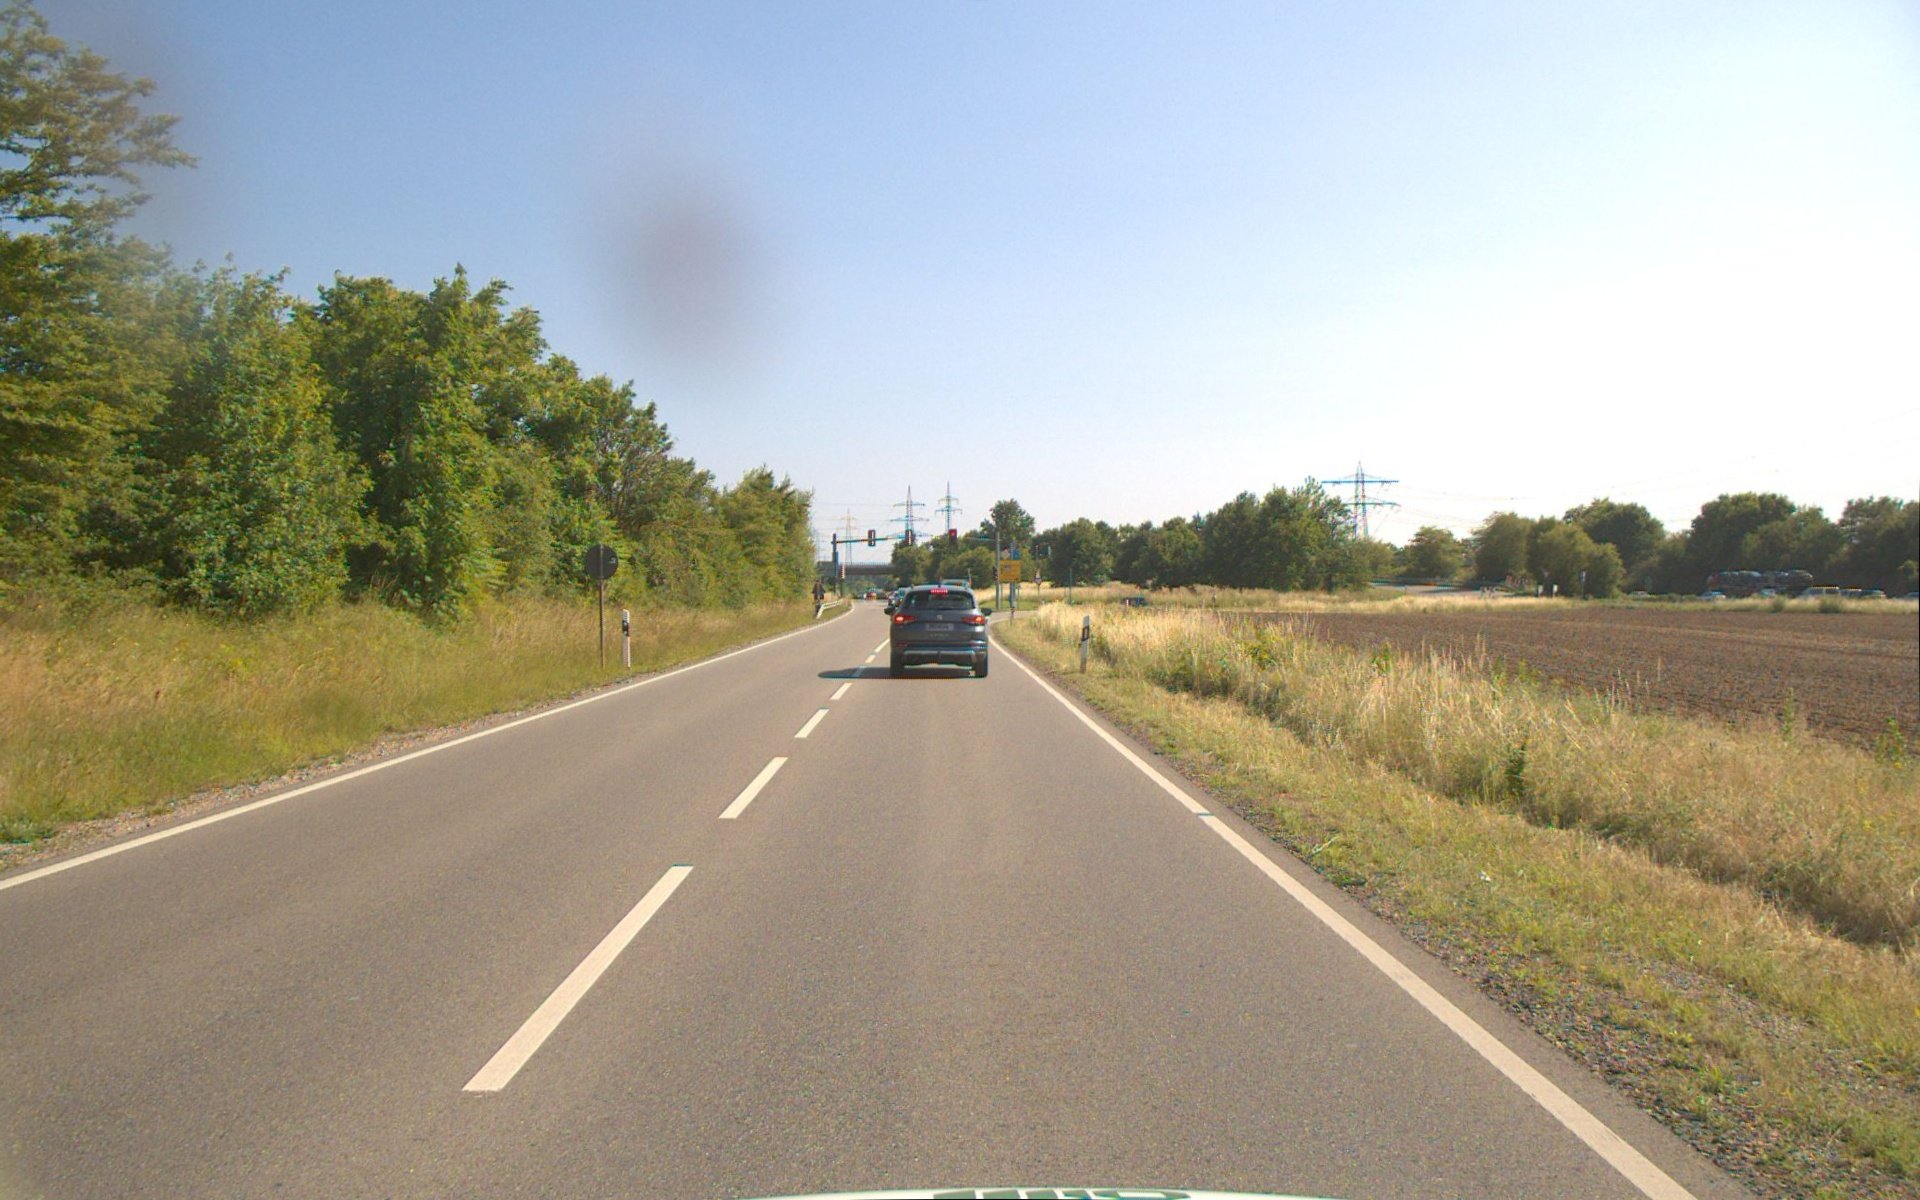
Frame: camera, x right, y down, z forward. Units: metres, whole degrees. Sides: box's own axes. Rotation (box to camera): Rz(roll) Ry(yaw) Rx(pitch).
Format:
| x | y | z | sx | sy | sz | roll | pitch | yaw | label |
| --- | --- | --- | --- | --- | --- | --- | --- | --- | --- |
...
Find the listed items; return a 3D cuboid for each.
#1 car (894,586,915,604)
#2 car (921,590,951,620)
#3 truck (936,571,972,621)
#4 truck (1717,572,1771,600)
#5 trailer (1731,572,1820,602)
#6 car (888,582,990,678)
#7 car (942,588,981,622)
| x | y | z | sx | sy | sz | roll | pitch | yaw | label |
| --- | --- | --- | --- | --- | --- | --- | --- | --- | --- |
| -5.161 | -0.484 | 153.819 | 1.780 | 1.567 | 3.996 | 0 | 0 | -5 | car |
| -1.421 | 0.257 | 97.962 | 1.749 | 1.705 | 3.999 | 0 | 1 | -1 | car |
| -0.380 | -0.253 | 107.381 | 2.289 | 3.120 | 5.809 | 1 | 0 | 0 | truck |
| 93.910 | -1.668 | 198.189 | 3.218 | 3.324 | 6.426 | 0 | 1 | -2 | truck |
| 94.138 | -1.571 | 191.318 | 3.218 | 3.324 | 13.449 | 0 | 1 | -2 | trailer |
| -0.401 | 0.495 | 30.549 | 1.749 | 1.657 | 3.999 | 0 | 1 | -1 | car |
| 0.063 | 0.219 | 77.895 | 1.749 | 1.570 | 3.999 | 0 | 1 | -1 | car |
